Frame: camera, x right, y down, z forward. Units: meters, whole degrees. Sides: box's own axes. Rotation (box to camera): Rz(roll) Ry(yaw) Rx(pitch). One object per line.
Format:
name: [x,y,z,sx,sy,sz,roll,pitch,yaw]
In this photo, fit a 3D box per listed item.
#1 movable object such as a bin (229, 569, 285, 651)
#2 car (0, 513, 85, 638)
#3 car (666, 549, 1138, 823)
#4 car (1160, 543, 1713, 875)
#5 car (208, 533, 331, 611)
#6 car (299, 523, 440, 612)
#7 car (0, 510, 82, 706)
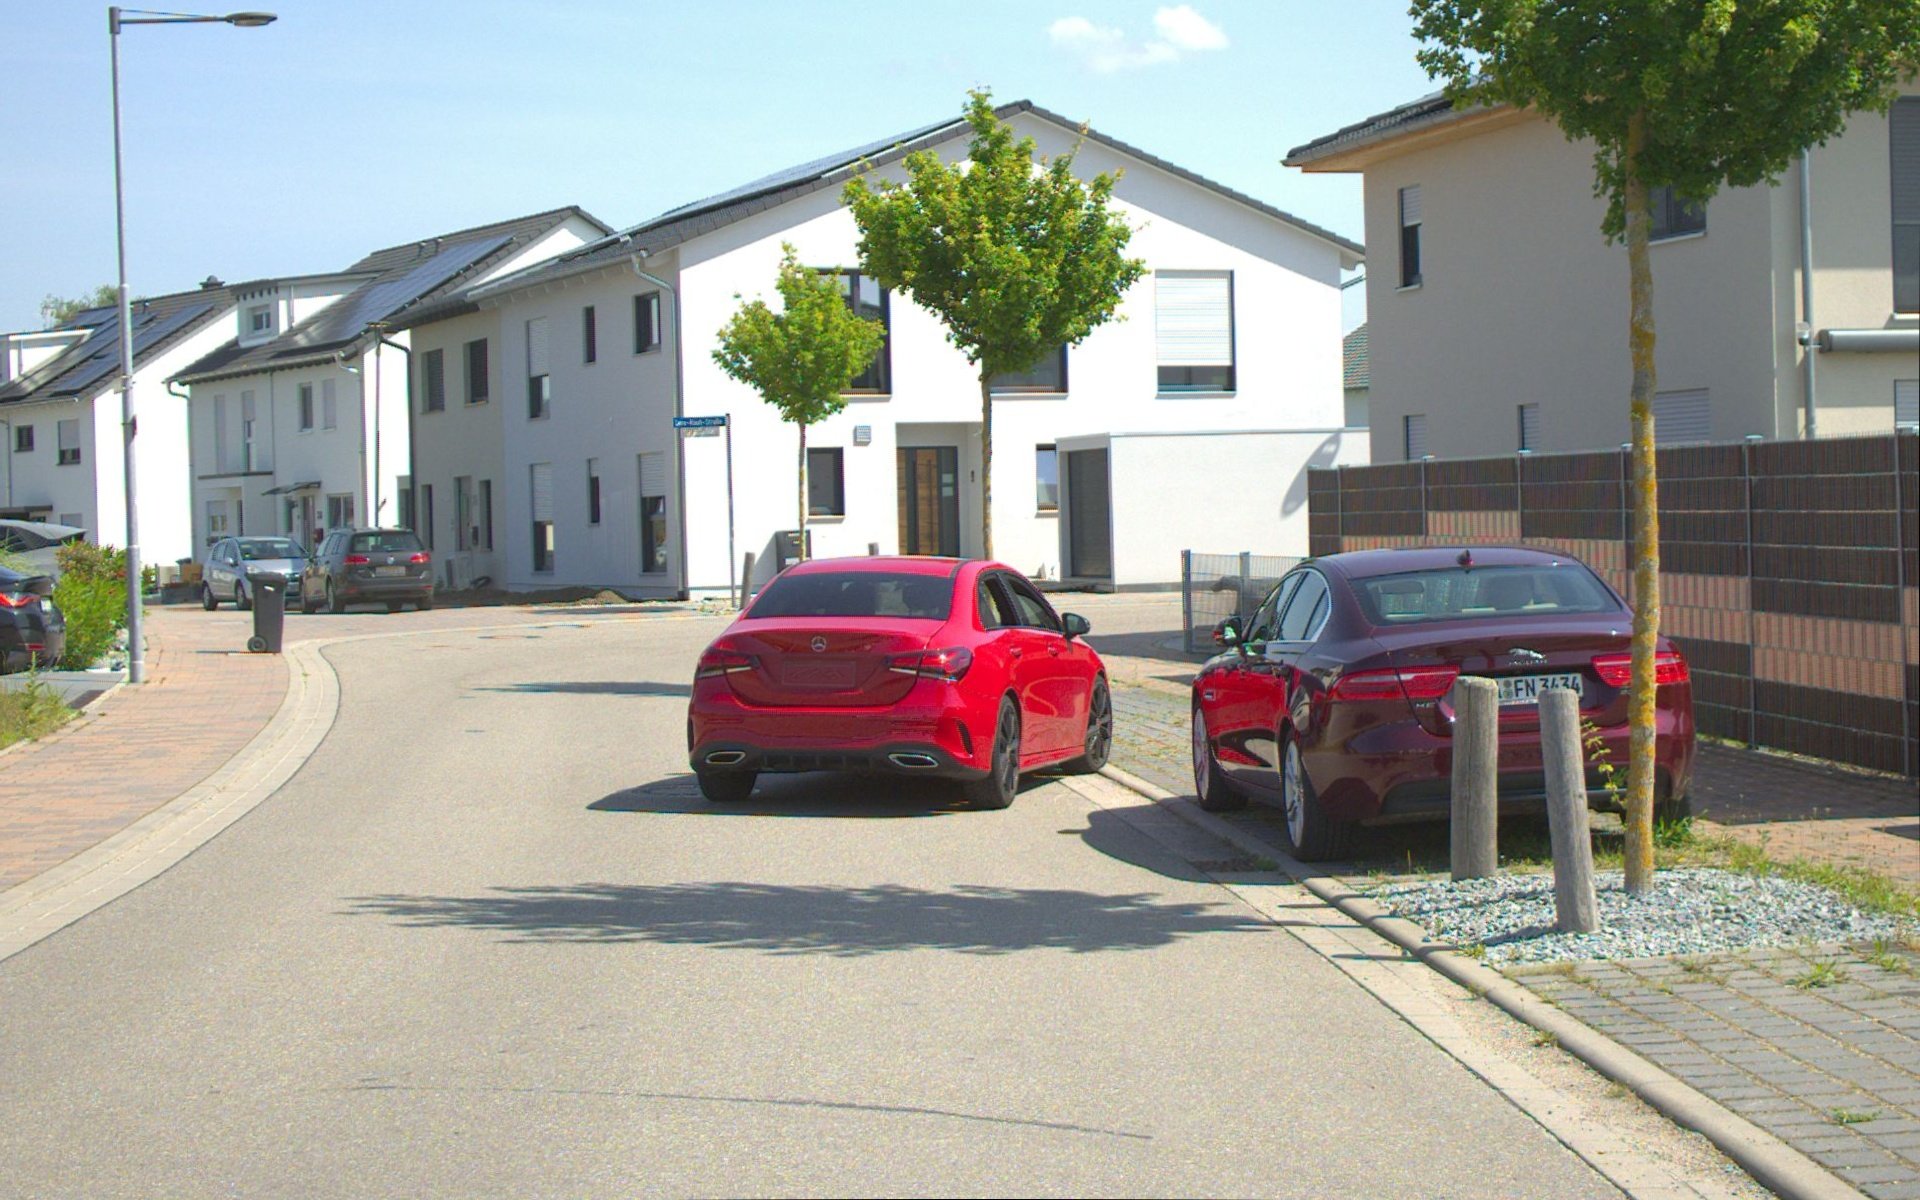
movable object such as a bin: [-8.102,0.113,39.629,0.534,0.932,0.526,1,1,1]
car: [-12.859,-0.290,41.978,3.986,1.481,1.755,-1,1,-6]
car: [-0.215,0.429,20.859,1.764,1.433,4.517,0,1,14]
car: [2.212,0.432,17.233,1.754,1.358,4.576,-2,1,-5]
car: [-13.839,-0.570,68.720,1.676,1.459,3.945,-2,2,-22]
car: [-10.231,-0.573,59.369,1.726,1.418,4.001,-2,2,-19]
car: [-9.819,0.009,29.200,4.374,1.626,1.771,1,1,-8]
